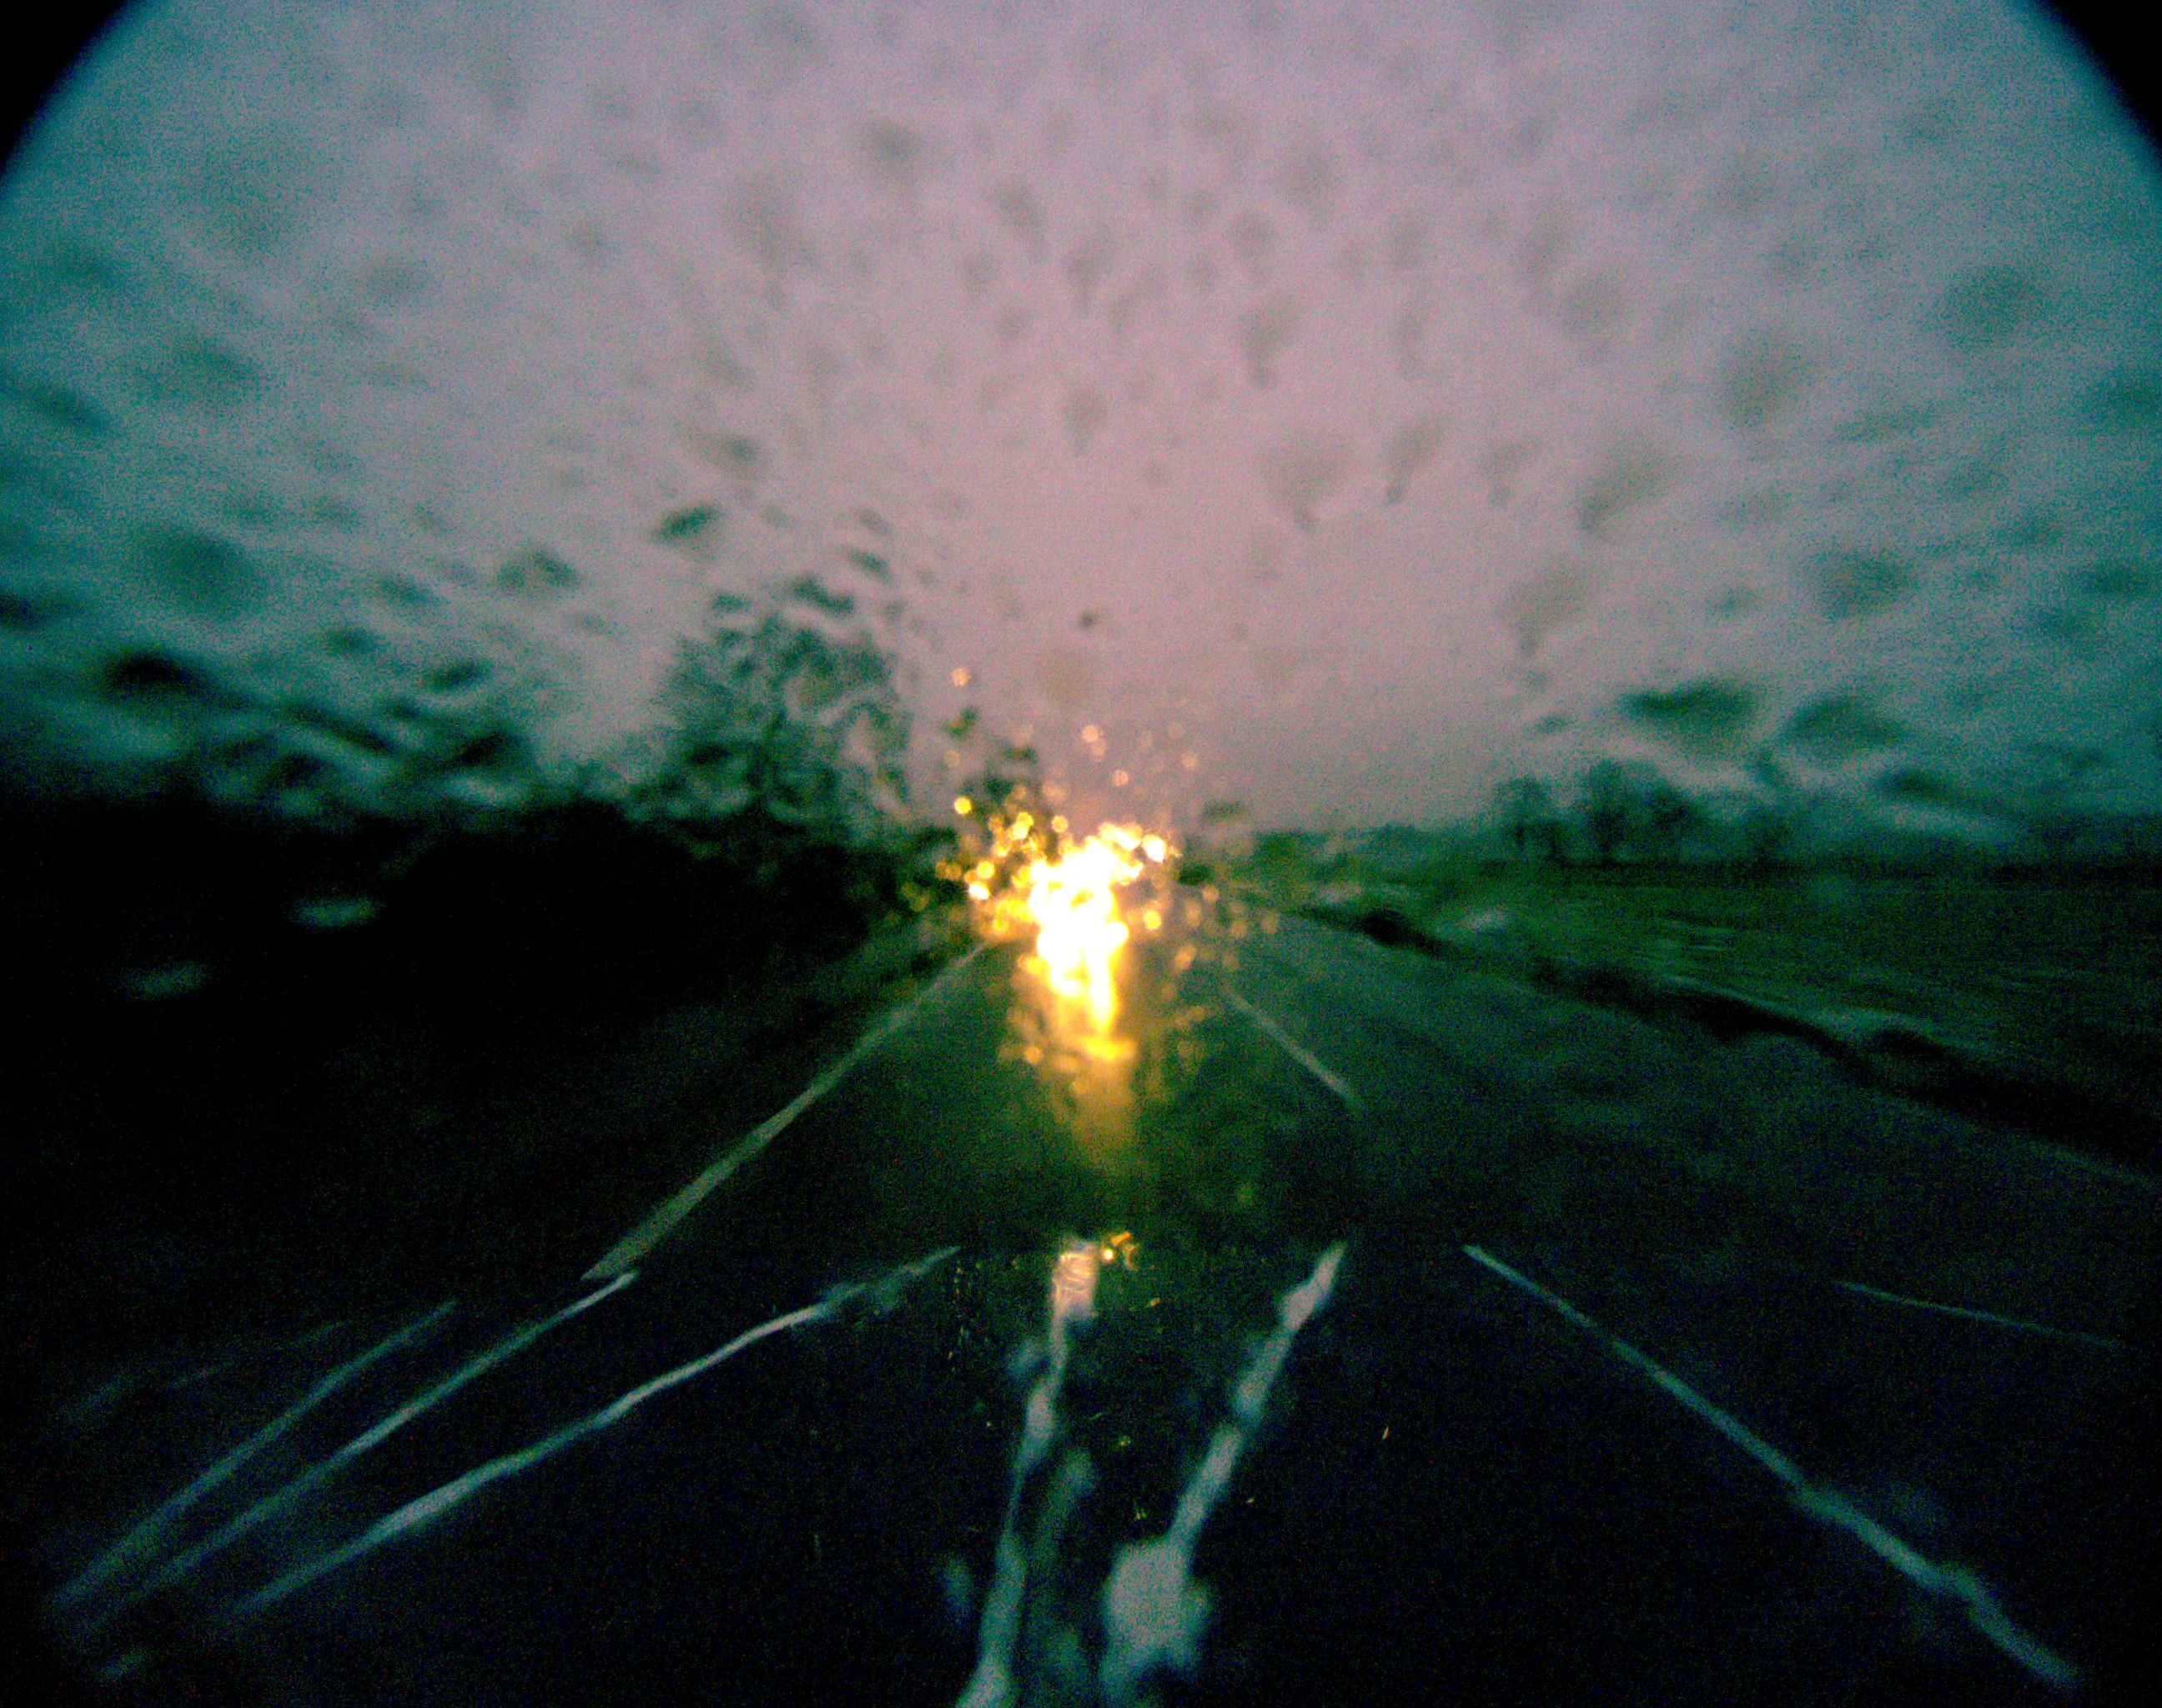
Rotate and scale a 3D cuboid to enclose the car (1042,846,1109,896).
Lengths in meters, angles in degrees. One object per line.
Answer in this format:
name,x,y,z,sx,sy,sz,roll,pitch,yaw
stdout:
car,-0.149,0.683,34.305,2.704,1.974,5.804,-2,1,1
